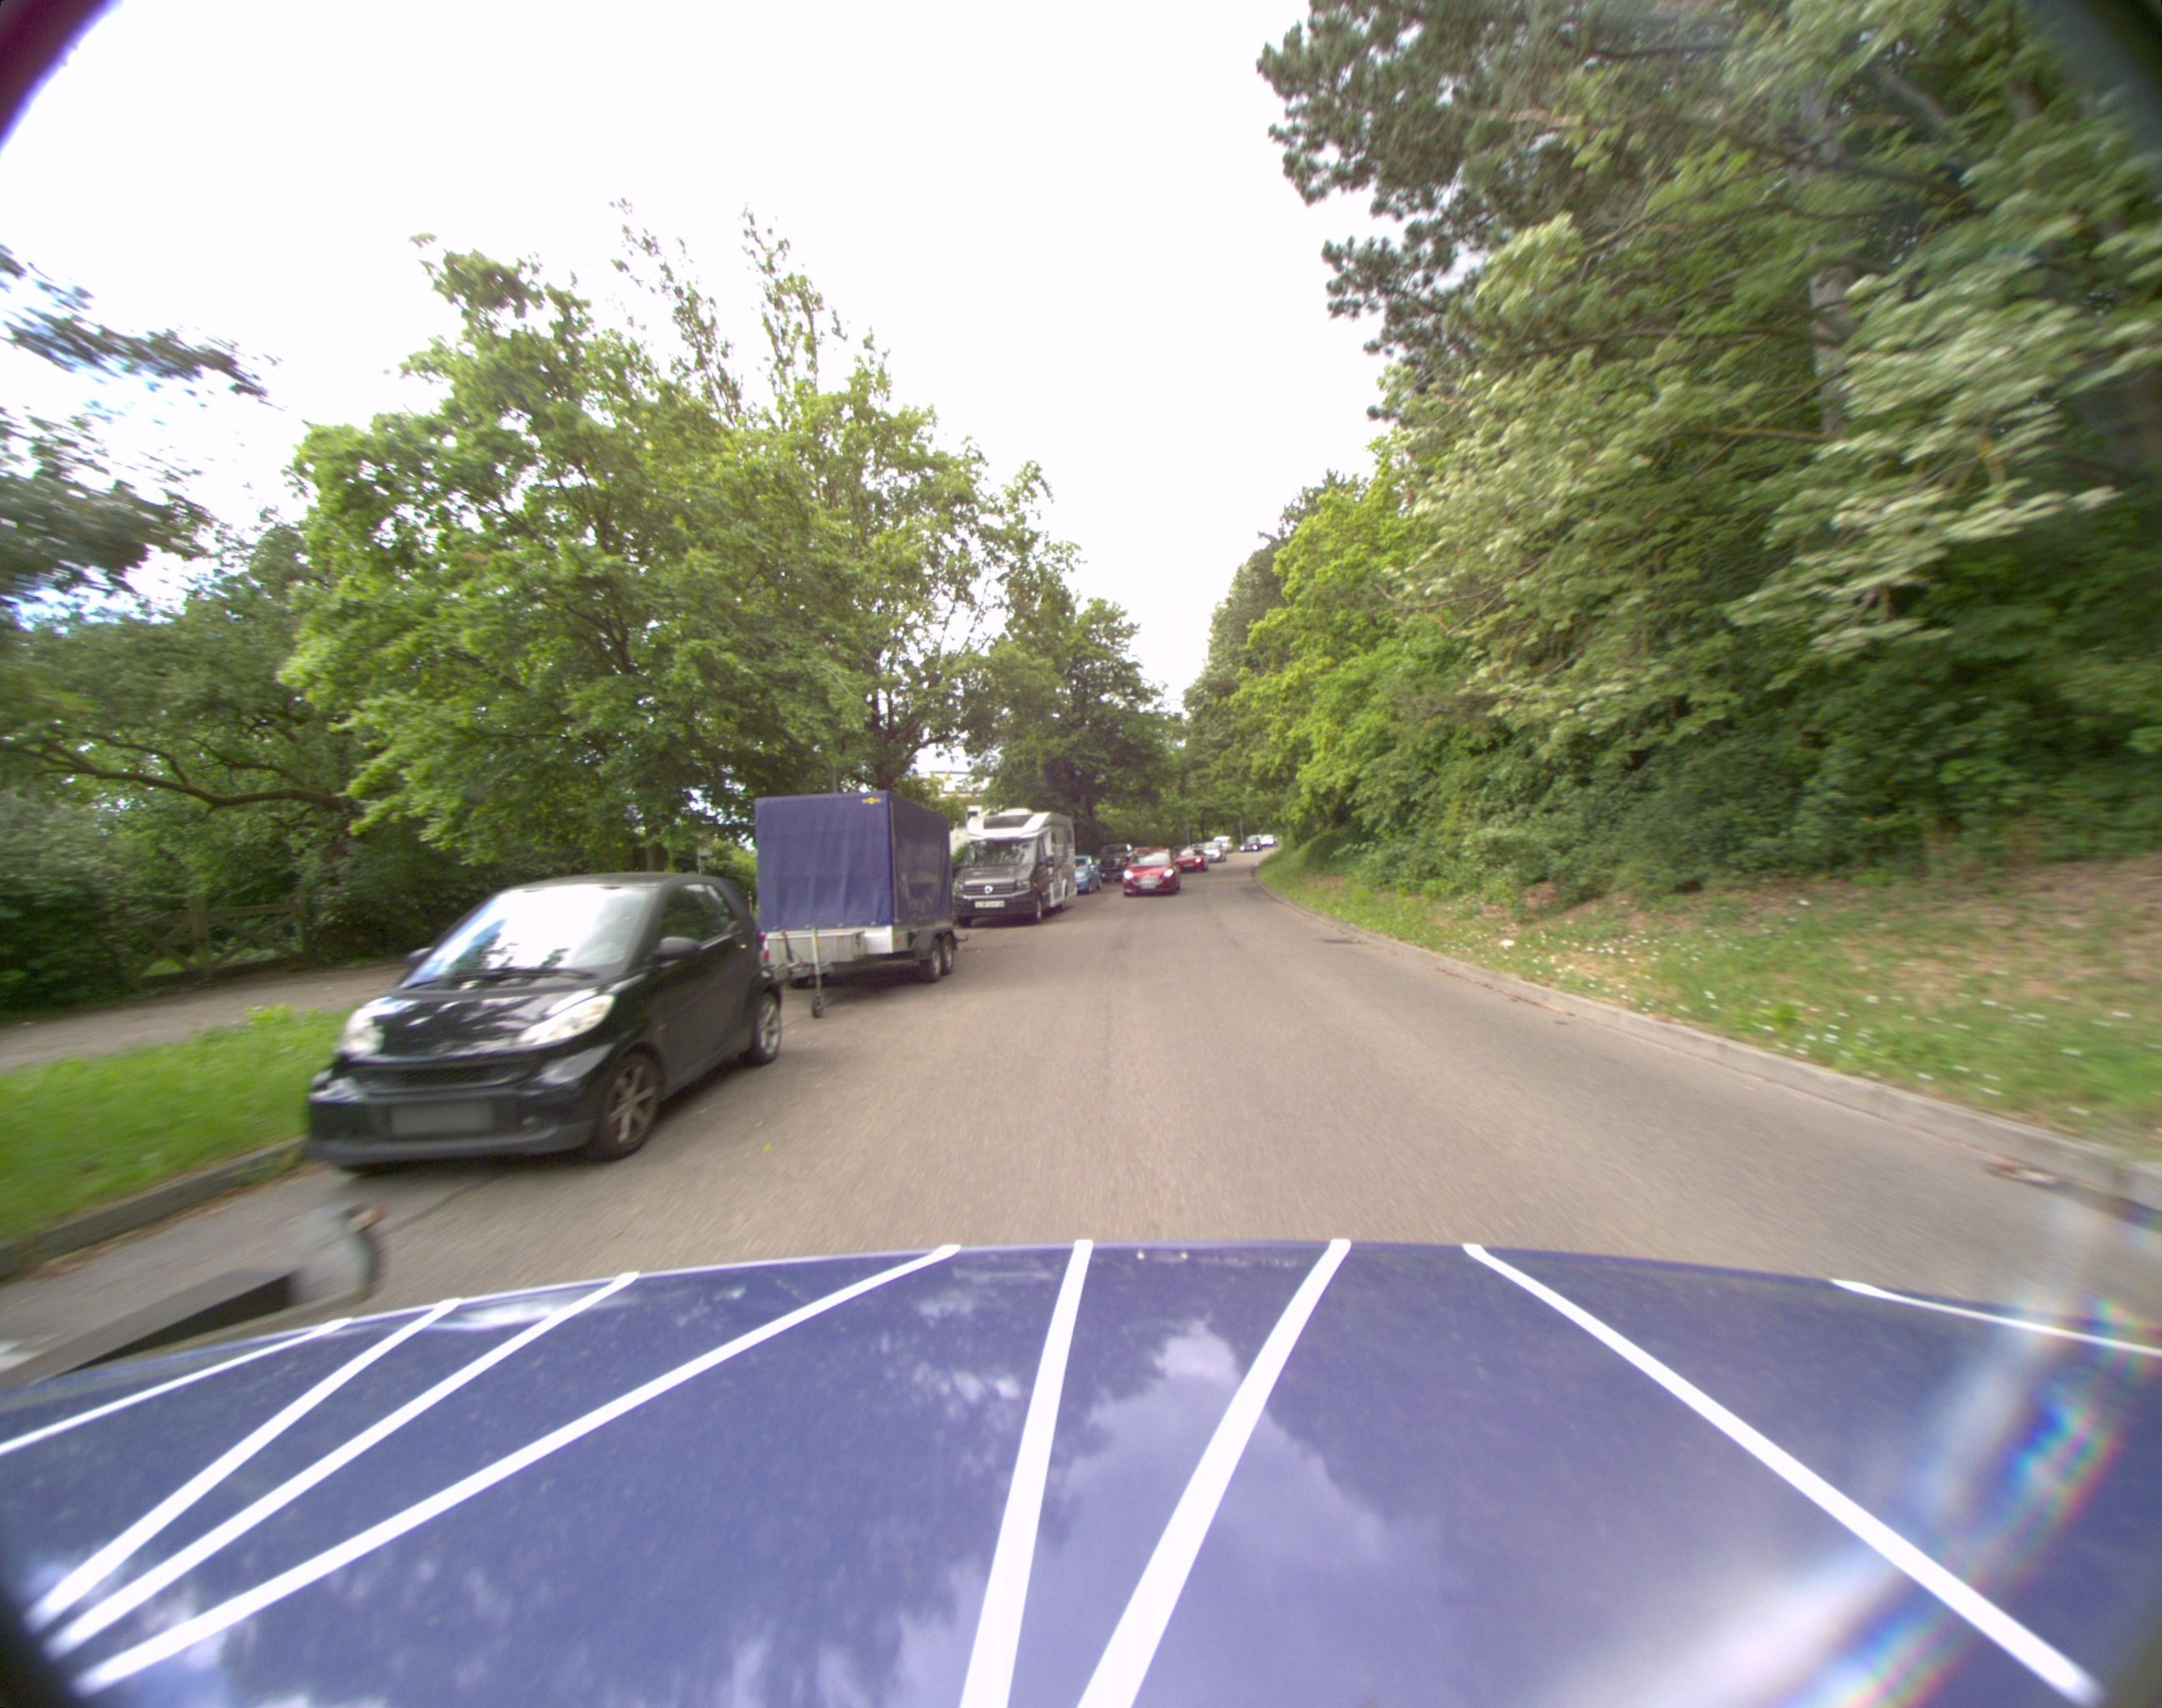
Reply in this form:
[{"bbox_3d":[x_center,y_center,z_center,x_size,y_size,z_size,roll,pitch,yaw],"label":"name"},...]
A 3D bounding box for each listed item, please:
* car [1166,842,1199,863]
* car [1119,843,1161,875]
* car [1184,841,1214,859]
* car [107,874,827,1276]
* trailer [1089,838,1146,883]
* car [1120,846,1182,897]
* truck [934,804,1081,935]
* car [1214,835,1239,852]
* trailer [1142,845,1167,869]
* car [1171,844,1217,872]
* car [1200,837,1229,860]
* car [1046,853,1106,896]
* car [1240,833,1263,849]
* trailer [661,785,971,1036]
[{"bbox_3d":[8.445,-0.154,62.960,1.865,1.558,4.180,-3,0,18],"label":"car"},{"bbox_3d":[3.639,0.233,46.058,1.844,1.675,4.603,-4,1,12],"label":"car"},{"bbox_3d":[10.773,-0.416,69.135,1.864,1.440,4.181,-3,0,20],"label":"car"},{"bbox_3d":[-3.268,1.035,5.021,1.733,1.514,3.405,-3,2,4],"label":"car"},{"bbox_3d":[2.054,0.270,40.372,1.997,1.922,5.896,-3,2,12],"label":"trailer"},{"bbox_3d":[2.659,0.577,28.223,1.997,1.619,4.628,-4,0,7],"label":"car"},{"bbox_3d":[-1.696,0.342,20.907,2.308,2.916,7.037,-2,0,8],"label":"truck"},{"bbox_3d":[15.713,-1.133,81.837,1.864,1.716,4.181,-3,0,20],"label":"car"},{"bbox_3d":[5.098,0.198,52.853,1.376,1.595,2.269,-3,0,12],"label":"trailer"},{"bbox_3d":[6.858,0.228,45.682,1.864,1.440,4.181,-3,0,20],"label":"car"},{"bbox_3d":[10.485,-0.445,59.483,1.920,1.671,4.003,-1,1,14],"label":"car"},{"bbox_3d":[-0.139,0.799,31.281,1.698,1.538,3.770,-3,1,11],"label":"car"},{"bbox_3d":[18.193,-1.362,80.984,1.766,1.509,4.004,-4,1,20],"label":"car"},{"bbox_3d":[-2.873,0.609,9.579,2.111,2.347,4.703,-1,-2,2],"label":"trailer"}]
